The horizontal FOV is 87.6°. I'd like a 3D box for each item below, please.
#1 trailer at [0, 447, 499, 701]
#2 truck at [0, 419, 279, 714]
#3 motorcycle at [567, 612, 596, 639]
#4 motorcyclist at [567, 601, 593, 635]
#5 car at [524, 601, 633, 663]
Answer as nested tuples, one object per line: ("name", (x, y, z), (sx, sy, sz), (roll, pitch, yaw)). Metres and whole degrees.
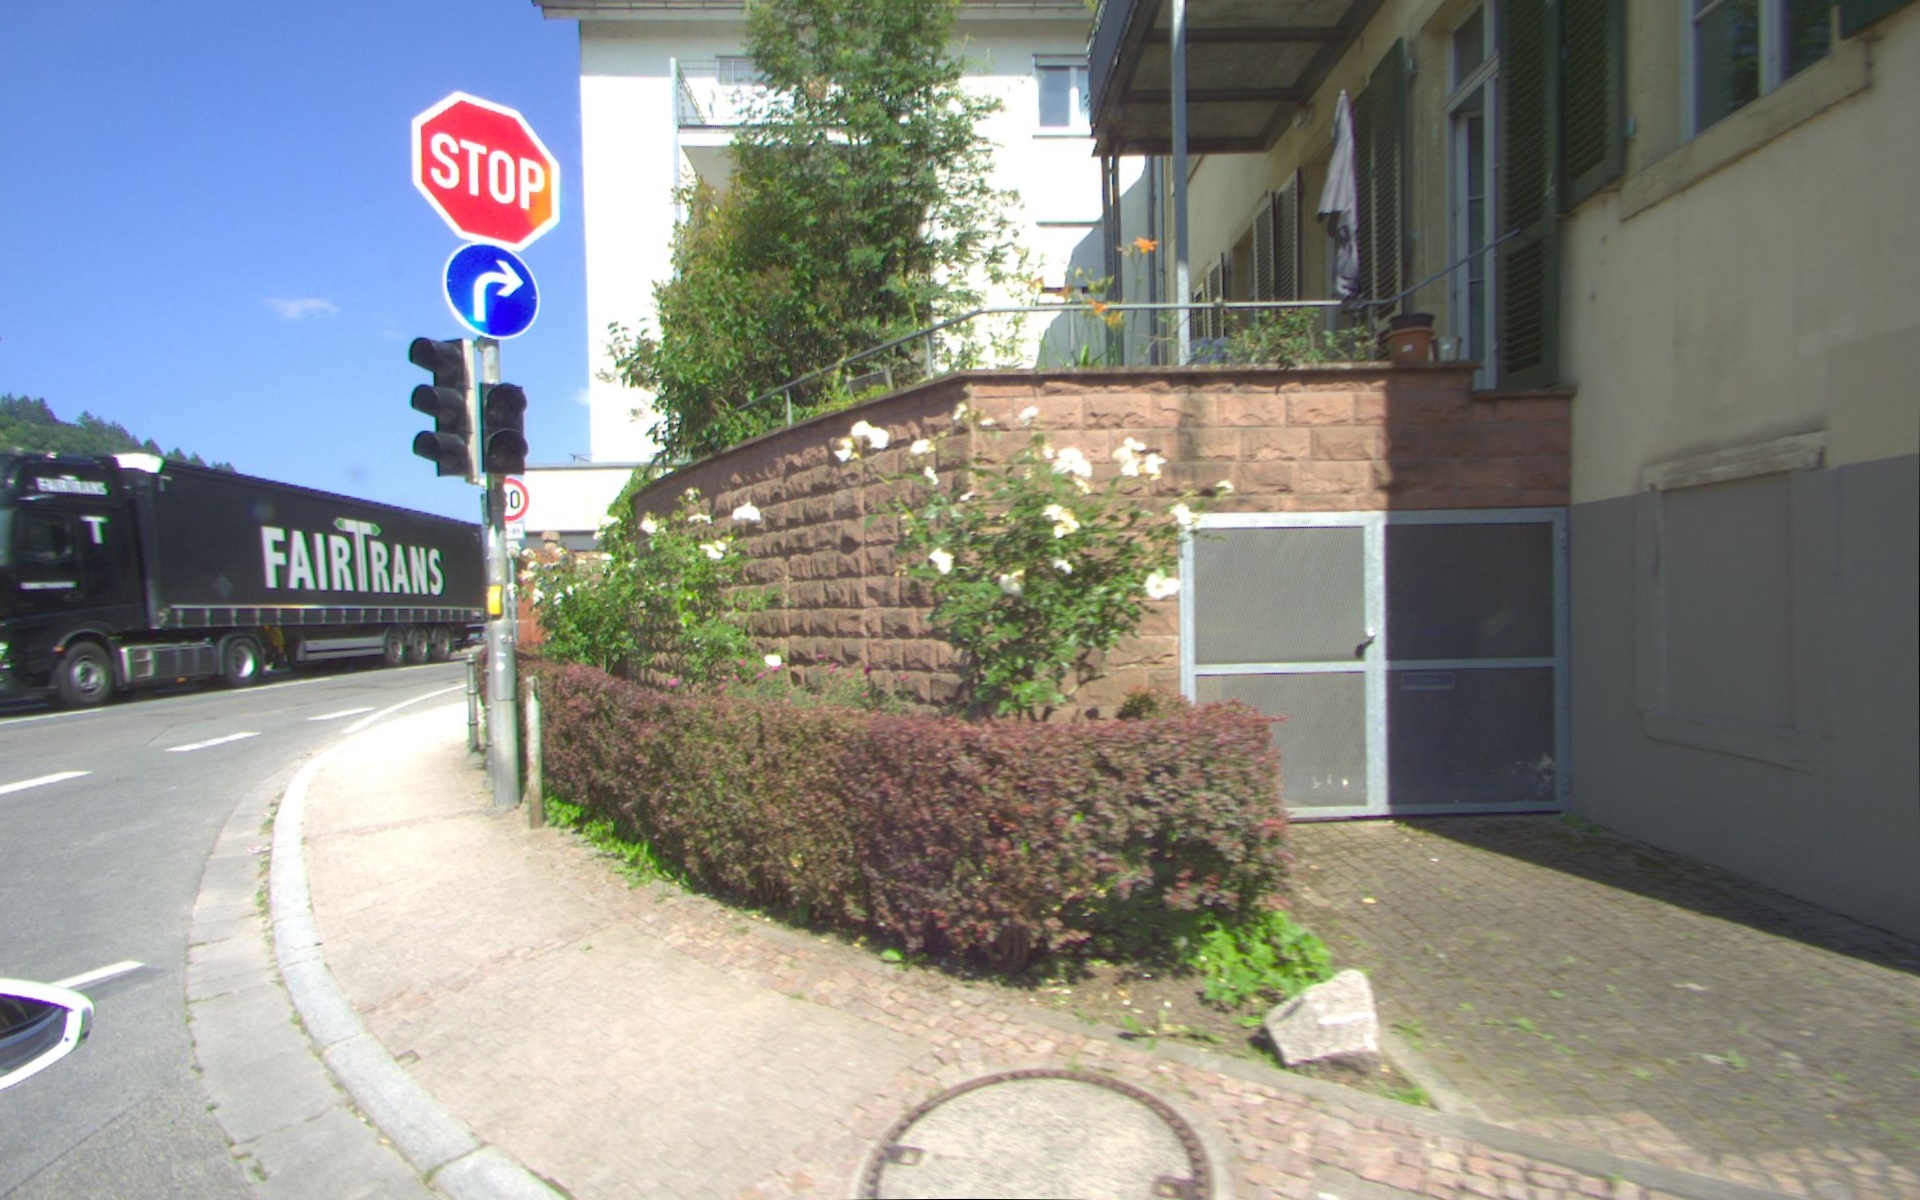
("trailer", (-15.268, -0.444, 23.754), (2.787, 4.158, 13.768), (-3, 0, -3))
("truck", (-14.896, -0.406, 16.907), (2.785, 4.125, 5.931), (-3, 0, -3))
("motorcycle", (-17.242, 1.160, 45.668), (0.623, 1.138, 2.092), (-3, 0, -5))
("motorcyclist", (-17.128, 0.789, 45.120), (0.766, 1.479, 0.991), (-3, 1, -4))
("car", (-9.917, 0.792, 26.311), (1.660, 1.417, 3.738), (-3, 0, -5))
